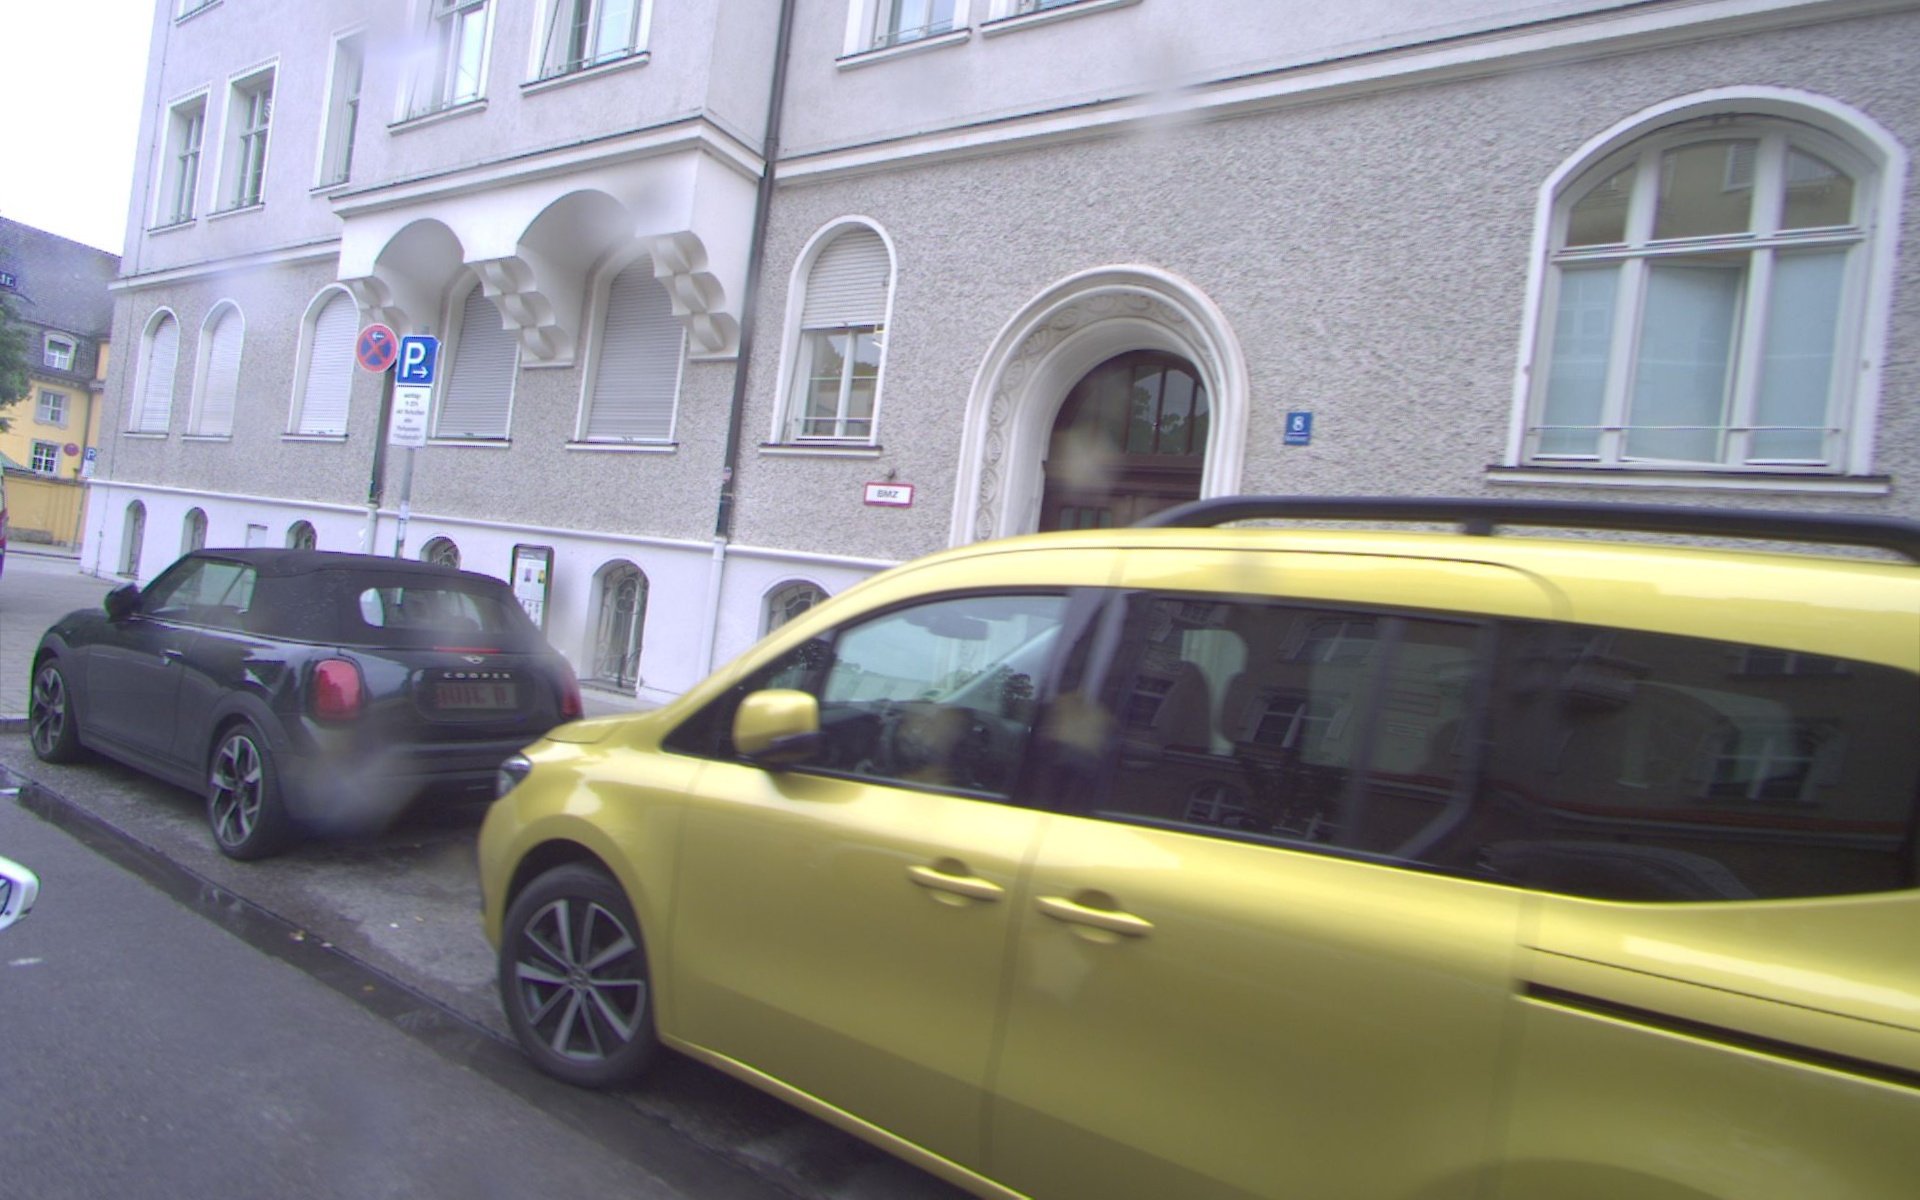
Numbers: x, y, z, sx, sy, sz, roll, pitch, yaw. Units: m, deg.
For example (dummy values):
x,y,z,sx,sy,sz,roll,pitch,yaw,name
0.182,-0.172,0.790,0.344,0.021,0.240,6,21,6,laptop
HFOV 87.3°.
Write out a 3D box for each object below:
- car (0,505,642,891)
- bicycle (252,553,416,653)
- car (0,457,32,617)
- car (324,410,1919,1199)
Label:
x,y,z,sx,sy,sz,roll,pitch,yaw,name
-3.922,0.393,5.975,3.764,1.462,1.715,7,-1,32,car
-9.002,0.023,14.422,2.711,1.127,0.839,7,3,32,bicycle
-14.376,-1.085,13.022,5.284,1.946,1.941,7,0,31,car
0.263,0.634,3.146,4.497,1.941,1.996,7,-1,33,car
